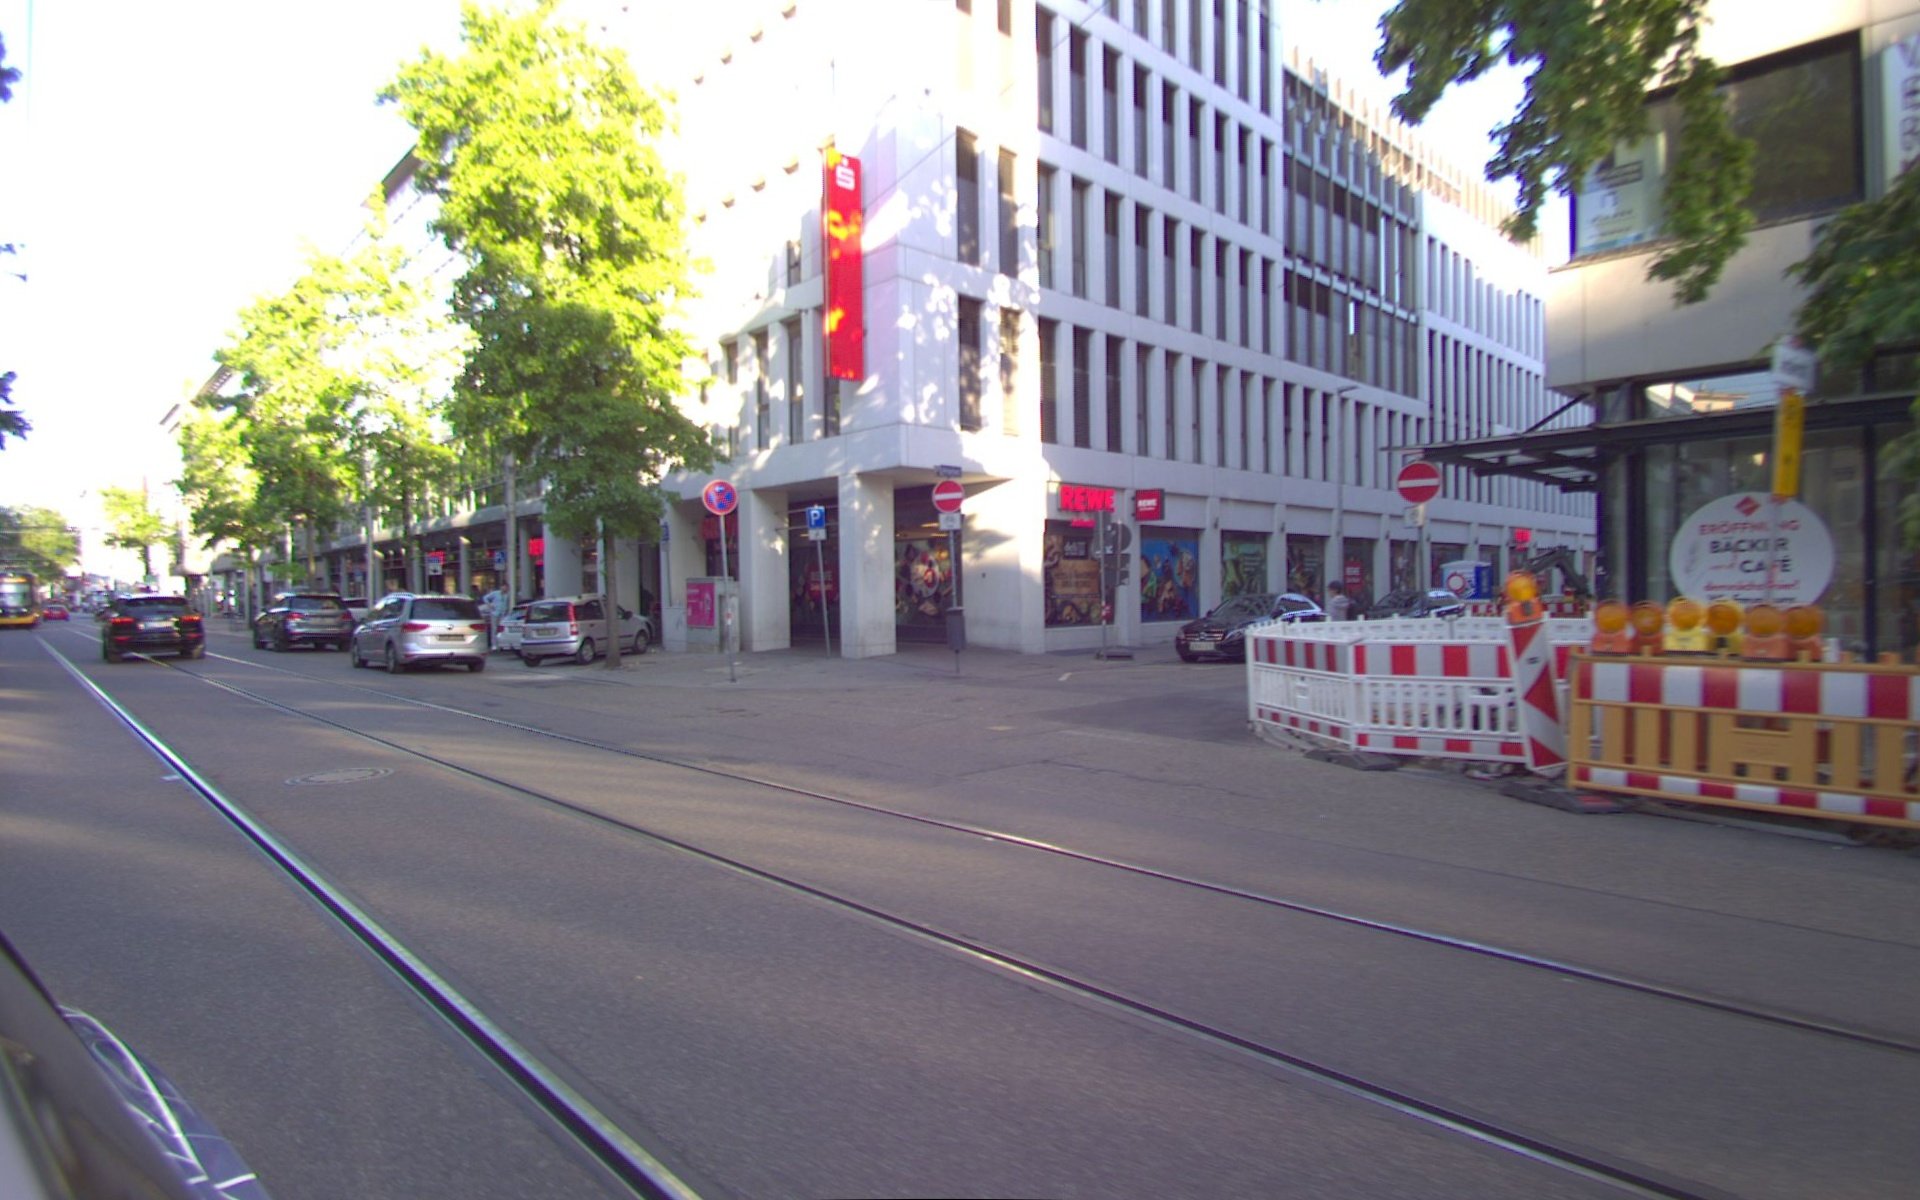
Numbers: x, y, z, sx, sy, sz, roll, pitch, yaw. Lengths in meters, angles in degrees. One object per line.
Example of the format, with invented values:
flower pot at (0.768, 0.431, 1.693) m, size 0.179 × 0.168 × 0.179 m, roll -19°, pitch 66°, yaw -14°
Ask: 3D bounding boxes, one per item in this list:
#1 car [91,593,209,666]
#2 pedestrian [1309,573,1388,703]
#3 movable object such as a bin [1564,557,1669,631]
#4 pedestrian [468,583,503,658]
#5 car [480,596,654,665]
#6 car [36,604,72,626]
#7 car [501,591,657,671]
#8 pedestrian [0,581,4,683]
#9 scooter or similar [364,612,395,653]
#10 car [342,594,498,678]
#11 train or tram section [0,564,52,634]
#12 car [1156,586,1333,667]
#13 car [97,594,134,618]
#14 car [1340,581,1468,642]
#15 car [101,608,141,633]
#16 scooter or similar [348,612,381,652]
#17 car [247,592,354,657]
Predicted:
car at (-21.038, 0.715, 26.229) m, size 2.010 × 1.699 × 4.204 m, roll -1°, pitch 0°, yaw -44°
pedestrian at (5.166, 0.488, 13.470) m, size 0.601 × 1.658 × 0.728 m, roll -1°, pitch 0°, yaw -28°
movable object such as a bin at (24.504, -0.213, 37.662) m, size 5.246 × 2.554 × 2.196 m, roll -1°, pitch 0°, yaw -45°
pedestrian at (-12.566, 0.531, 26.807) m, size 0.646 × 1.948 × 0.724 m, roll -1°, pitch 0°, yaw -42°
car at (-10.249, 0.739, 26.727) m, size 1.571 × 1.423 × 4.278 m, roll -1°, pitch 3°, yaw 28°
car at (-79.645, 1.329, 88.957) m, size 2.187 × 1.874 × 4.002 m, roll -1°, pitch 0°, yaw -45°
car at (-8.817, 0.674, 23.706) m, size 1.772 × 1.571 × 3.386 m, roll -2°, pitch 3°, yaw 14°
pedestrian at (-19.030, 0.626, 19.548) m, size 0.761 × 1.948 × 0.874 m, roll -1°, pitch 0°, yaw -42°
scooter or similar at (-18.356, 1.006, 31.966) m, size 0.535 × 1.257 × 1.686 m, roll -1°, pitch 0°, yaw -41°
car at (-11.578, 0.738, 21.573) m, size 1.862 × 1.624 × 4.204 m, roll 1°, pitch -2°, yaw -44°
train or tram section at (-60.711, 0.070, 64.719) m, size 3.556 × 4.028 × 15.730 m, roll -1°, pitch 0°, yaw -43°
car at (6.145, 0.519, 21.654) m, size 3.940 × 1.553 × 1.843 m, roll -1°, pitch -1°, yaw -43°
car at (-69.417, 0.503, 83.190) m, size 1.971 × 1.896 × 4.002 m, roll -1°, pitch 0°, yaw -45°
car at (12.380, 0.292, 28.134) m, size 3.940 × 1.553 × 1.843 m, roll -1°, pitch -1°, yaw -43°
car at (-57.499, 1.391, 69.327) m, size 4.001 × 1.608 × 1.691 m, roll -1°, pitch 0°, yaw 44°
scooter or similar at (-19.711, 1.038, 33.476) m, size 0.571 × 1.257 × 2.129 m, roll -1°, pitch 0°, yaw -41°
car at (-20.124, 0.729, 30.814) m, size 2.010 × 1.820 × 4.204 m, roll 0°, pitch -1°, yaw -44°
